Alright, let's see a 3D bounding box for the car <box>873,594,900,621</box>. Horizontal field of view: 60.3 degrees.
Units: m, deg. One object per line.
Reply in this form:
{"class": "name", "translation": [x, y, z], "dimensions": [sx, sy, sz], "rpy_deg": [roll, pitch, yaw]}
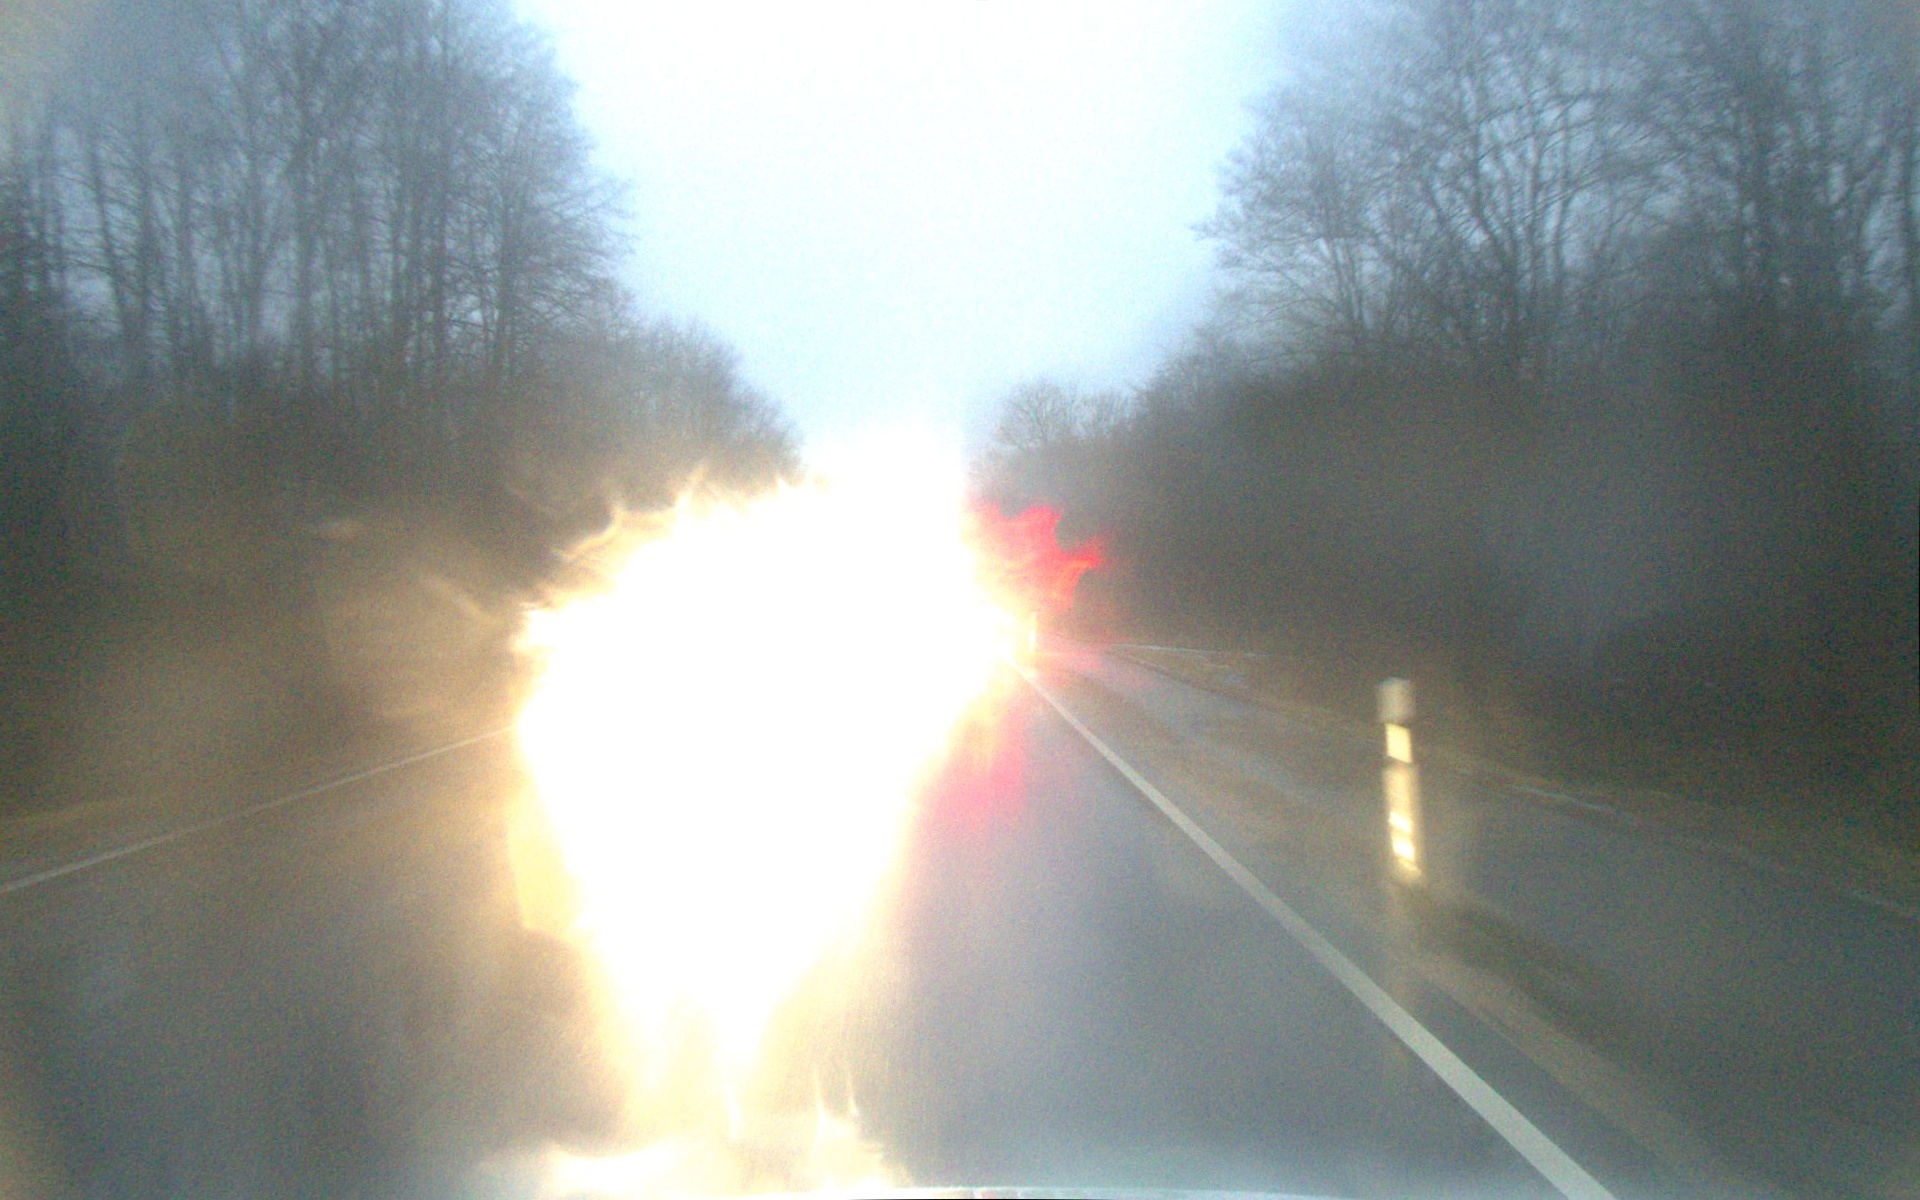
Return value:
{"class": "car", "translation": [-4.460, 0.475, 100.935], "dimensions": [1.549, 1.577, 3.999], "rpy_deg": [-2, 0, -1]}

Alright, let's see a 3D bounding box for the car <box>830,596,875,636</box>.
{"class": "car", "translation": [-4.589, 0.675, 70.904], "dimensions": [1.706, 1.664, 3.999], "rpy_deg": [0, 0, -1]}

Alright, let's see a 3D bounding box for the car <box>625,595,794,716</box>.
{"class": "car", "translation": [-3.468, 0.714, 23.674], "dimensions": [1.729, 1.483, 4.507], "rpy_deg": [-3, 0, -1]}
